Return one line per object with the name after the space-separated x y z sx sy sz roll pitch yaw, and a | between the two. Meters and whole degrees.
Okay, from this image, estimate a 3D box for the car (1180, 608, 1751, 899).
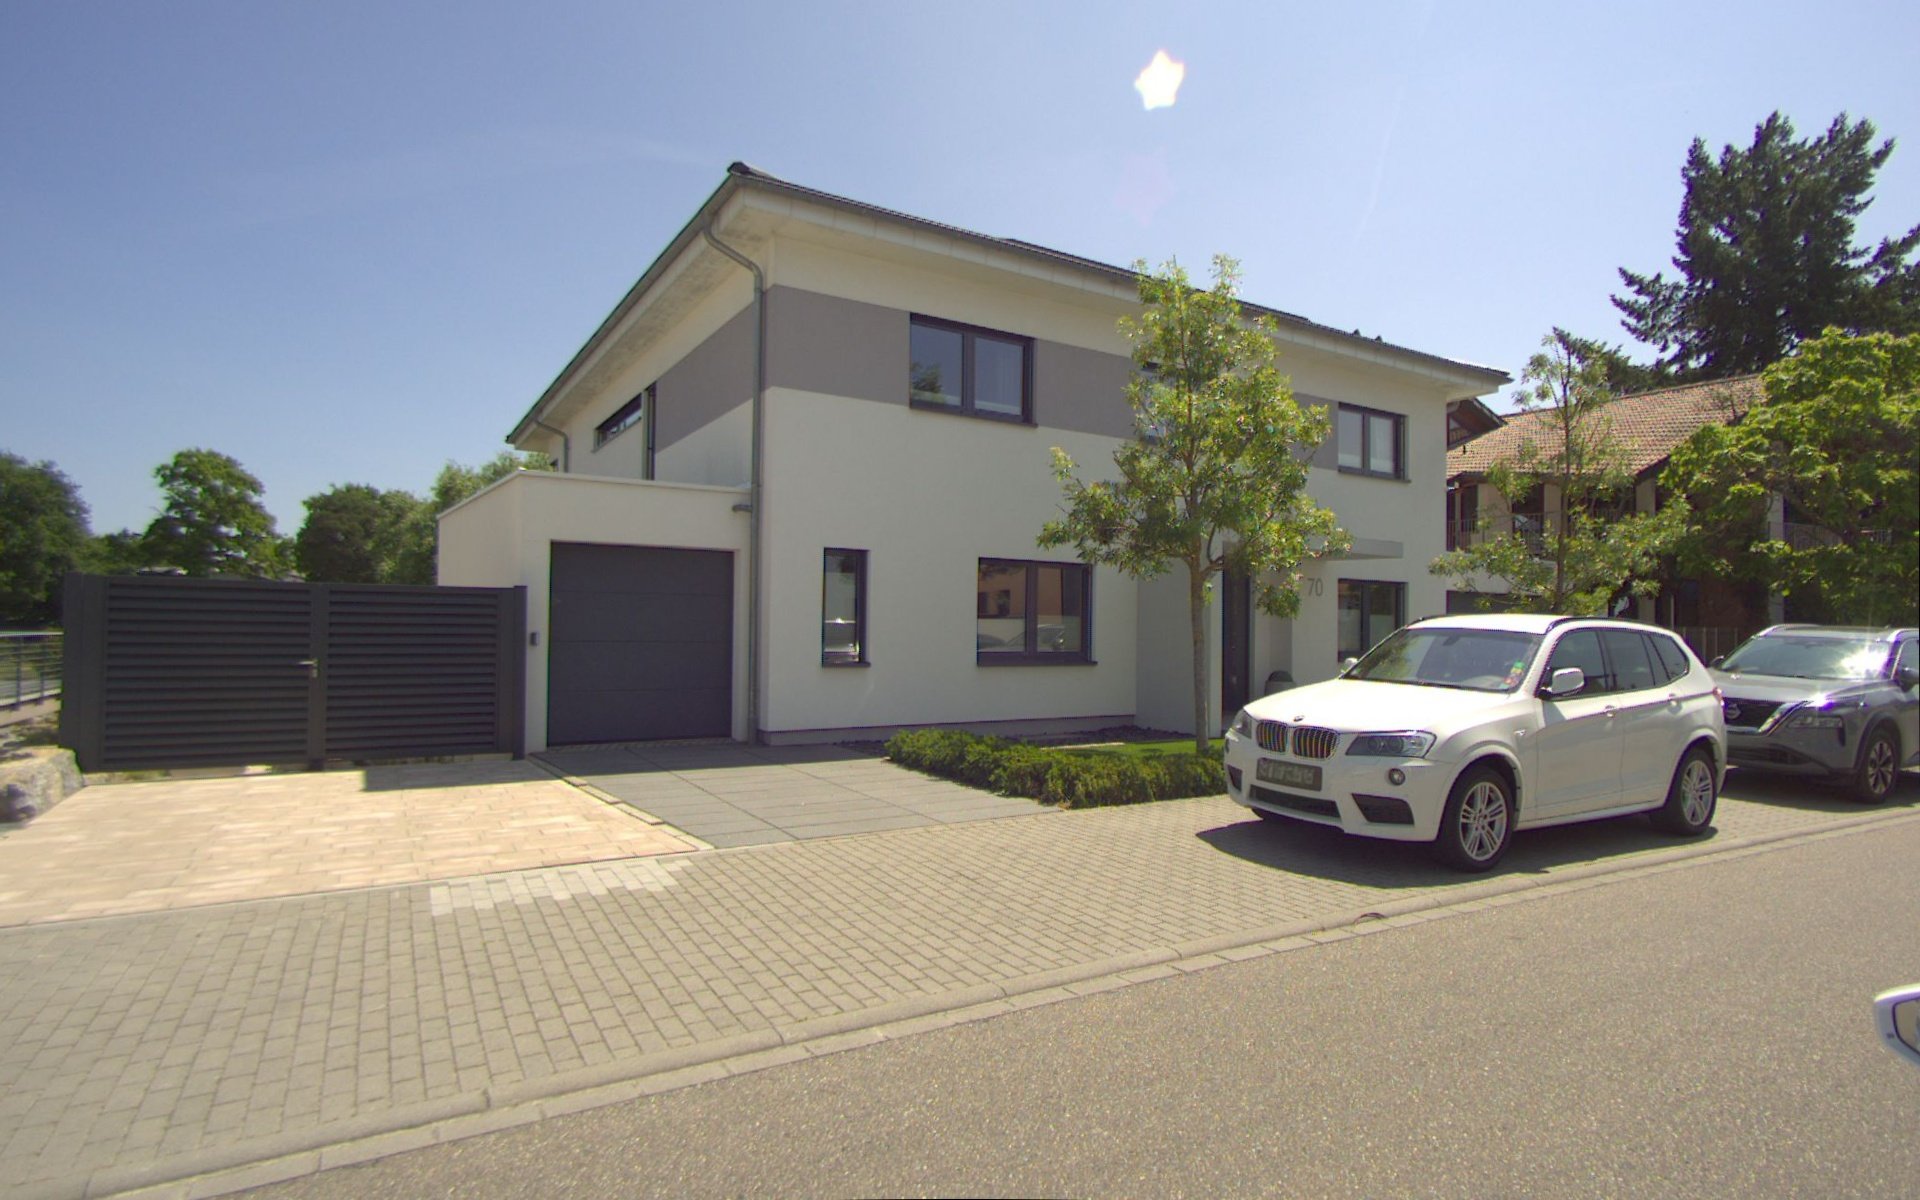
4.051 0.978 7.895 4.445 1.709 1.918 1 -2 -30 | car

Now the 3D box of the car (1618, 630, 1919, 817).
9.431 1.194 11.089 4.165 1.702 1.984 1 -2 -30 | car
